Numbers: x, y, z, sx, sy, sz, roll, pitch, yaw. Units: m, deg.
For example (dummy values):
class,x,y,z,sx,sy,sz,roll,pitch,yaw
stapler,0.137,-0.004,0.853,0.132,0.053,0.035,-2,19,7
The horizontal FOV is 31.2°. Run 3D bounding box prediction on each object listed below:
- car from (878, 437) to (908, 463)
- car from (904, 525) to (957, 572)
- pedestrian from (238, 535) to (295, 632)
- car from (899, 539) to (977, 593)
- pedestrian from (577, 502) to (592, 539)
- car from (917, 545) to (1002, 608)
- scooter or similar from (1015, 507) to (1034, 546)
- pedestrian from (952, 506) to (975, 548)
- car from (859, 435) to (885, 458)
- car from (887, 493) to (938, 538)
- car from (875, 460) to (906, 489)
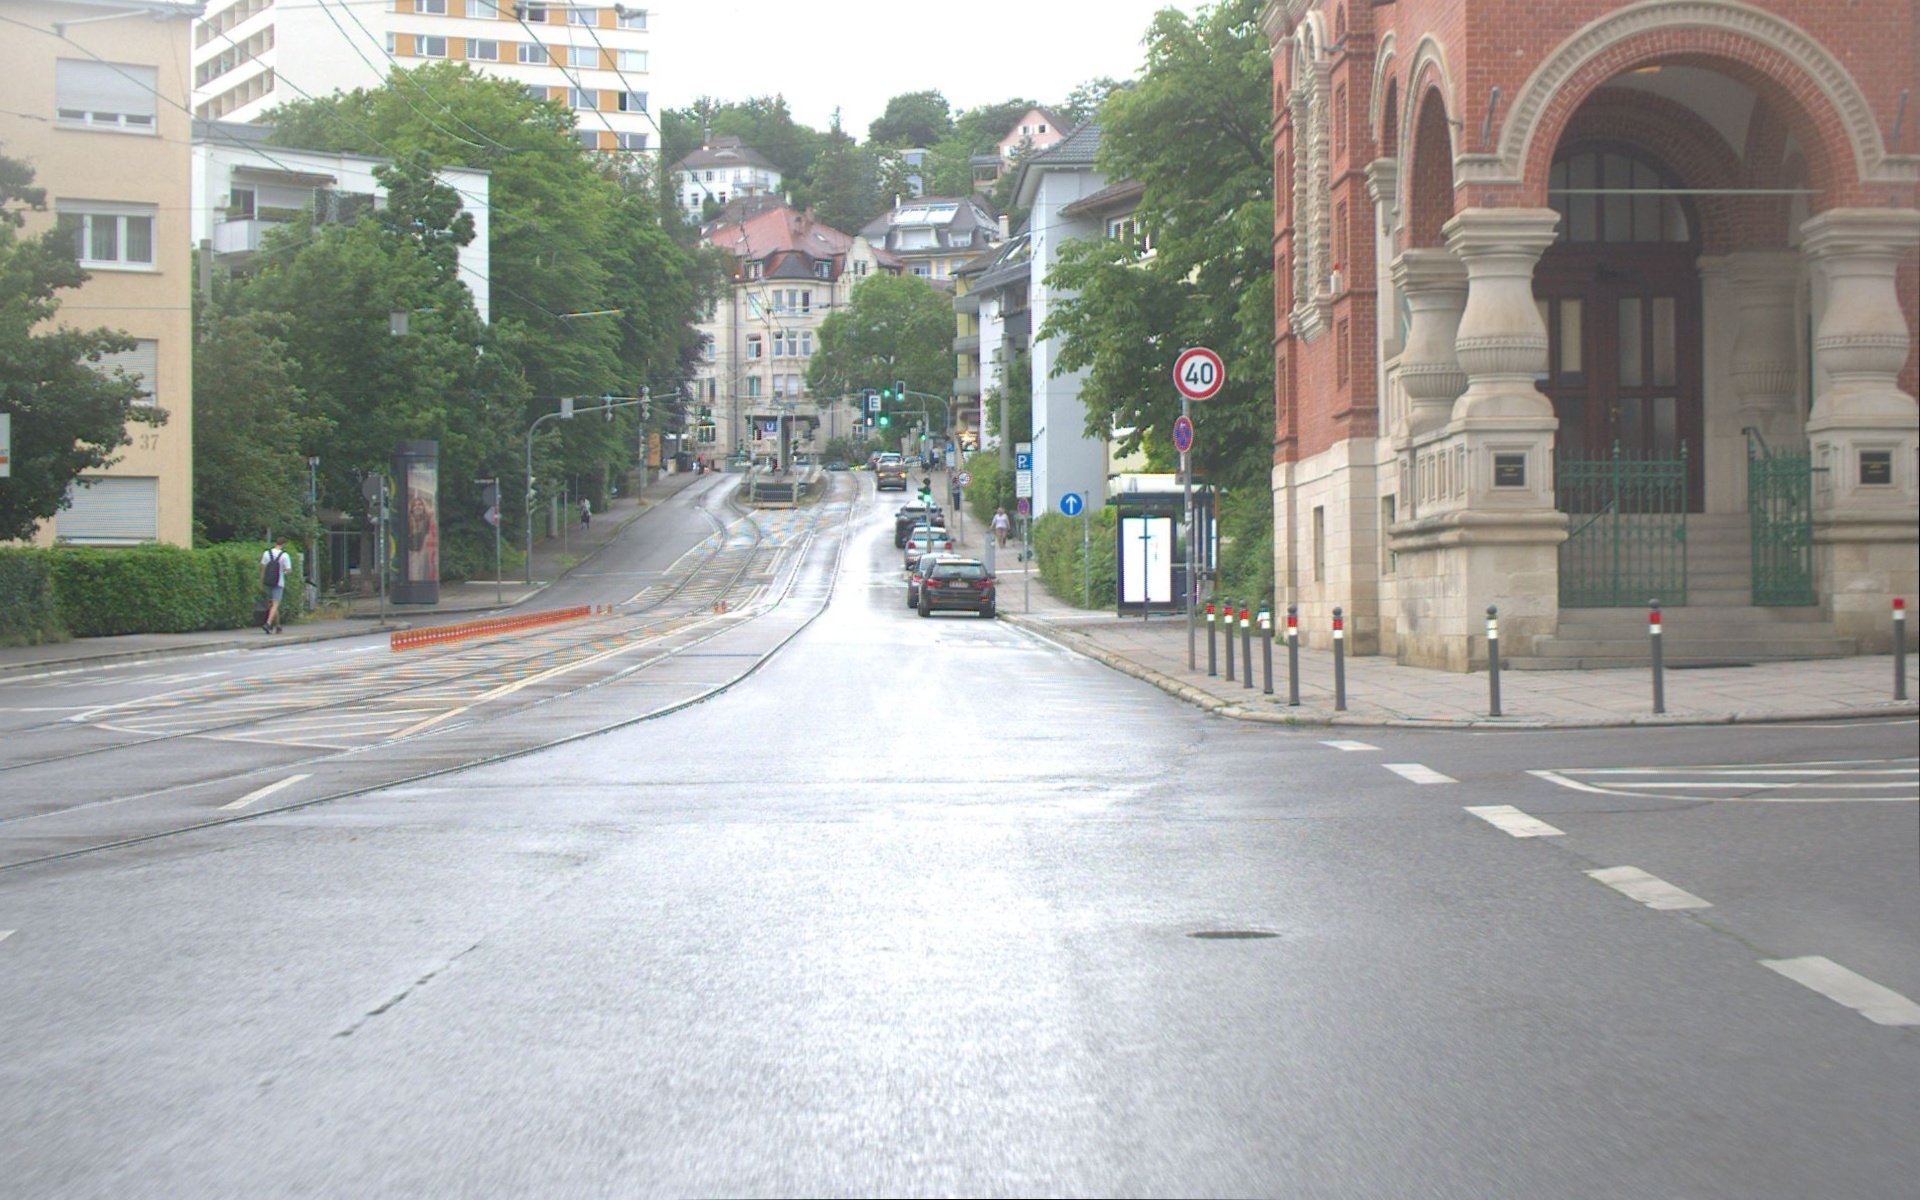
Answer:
class,x,y,z,sx,sy,sz,roll,pitch,yaw
car,-4.538,-10.173,232.867,1.906,1.636,4.691,1,3,-2
car,-1.068,-1.823,120.682,1.704,1.428,4.103,1,3,-2
pedestrian,-13.404,-0.323,66.485,0.918,1.839,1.017,2,0,-5
car,-0.636,-0.960,95.724,1.939,1.459,4.207,1,1,-3
pedestrian,-16.675,-3.533,152.613,0.583,1.594,0.869,2,2,-5
car,-0.043,-0.589,84.209,1.857,1.482,4.645,1,1,-3
scooter or similar,2.286,-2.604,121.425,0.575,1.245,1.610,1,5,4
pedestrian,0.140,-2.886,135.646,0.882,1.577,0.801,-1,5,1
car,-6.636,-11.551,259.320,1.906,1.636,4.691,1,3,-2
car,-1.911,-3.385,137.067,1.906,1.636,4.691,1,3,-2
car,-4.168,-7.549,206.809,1.802,1.640,4.000,1,1,-1
